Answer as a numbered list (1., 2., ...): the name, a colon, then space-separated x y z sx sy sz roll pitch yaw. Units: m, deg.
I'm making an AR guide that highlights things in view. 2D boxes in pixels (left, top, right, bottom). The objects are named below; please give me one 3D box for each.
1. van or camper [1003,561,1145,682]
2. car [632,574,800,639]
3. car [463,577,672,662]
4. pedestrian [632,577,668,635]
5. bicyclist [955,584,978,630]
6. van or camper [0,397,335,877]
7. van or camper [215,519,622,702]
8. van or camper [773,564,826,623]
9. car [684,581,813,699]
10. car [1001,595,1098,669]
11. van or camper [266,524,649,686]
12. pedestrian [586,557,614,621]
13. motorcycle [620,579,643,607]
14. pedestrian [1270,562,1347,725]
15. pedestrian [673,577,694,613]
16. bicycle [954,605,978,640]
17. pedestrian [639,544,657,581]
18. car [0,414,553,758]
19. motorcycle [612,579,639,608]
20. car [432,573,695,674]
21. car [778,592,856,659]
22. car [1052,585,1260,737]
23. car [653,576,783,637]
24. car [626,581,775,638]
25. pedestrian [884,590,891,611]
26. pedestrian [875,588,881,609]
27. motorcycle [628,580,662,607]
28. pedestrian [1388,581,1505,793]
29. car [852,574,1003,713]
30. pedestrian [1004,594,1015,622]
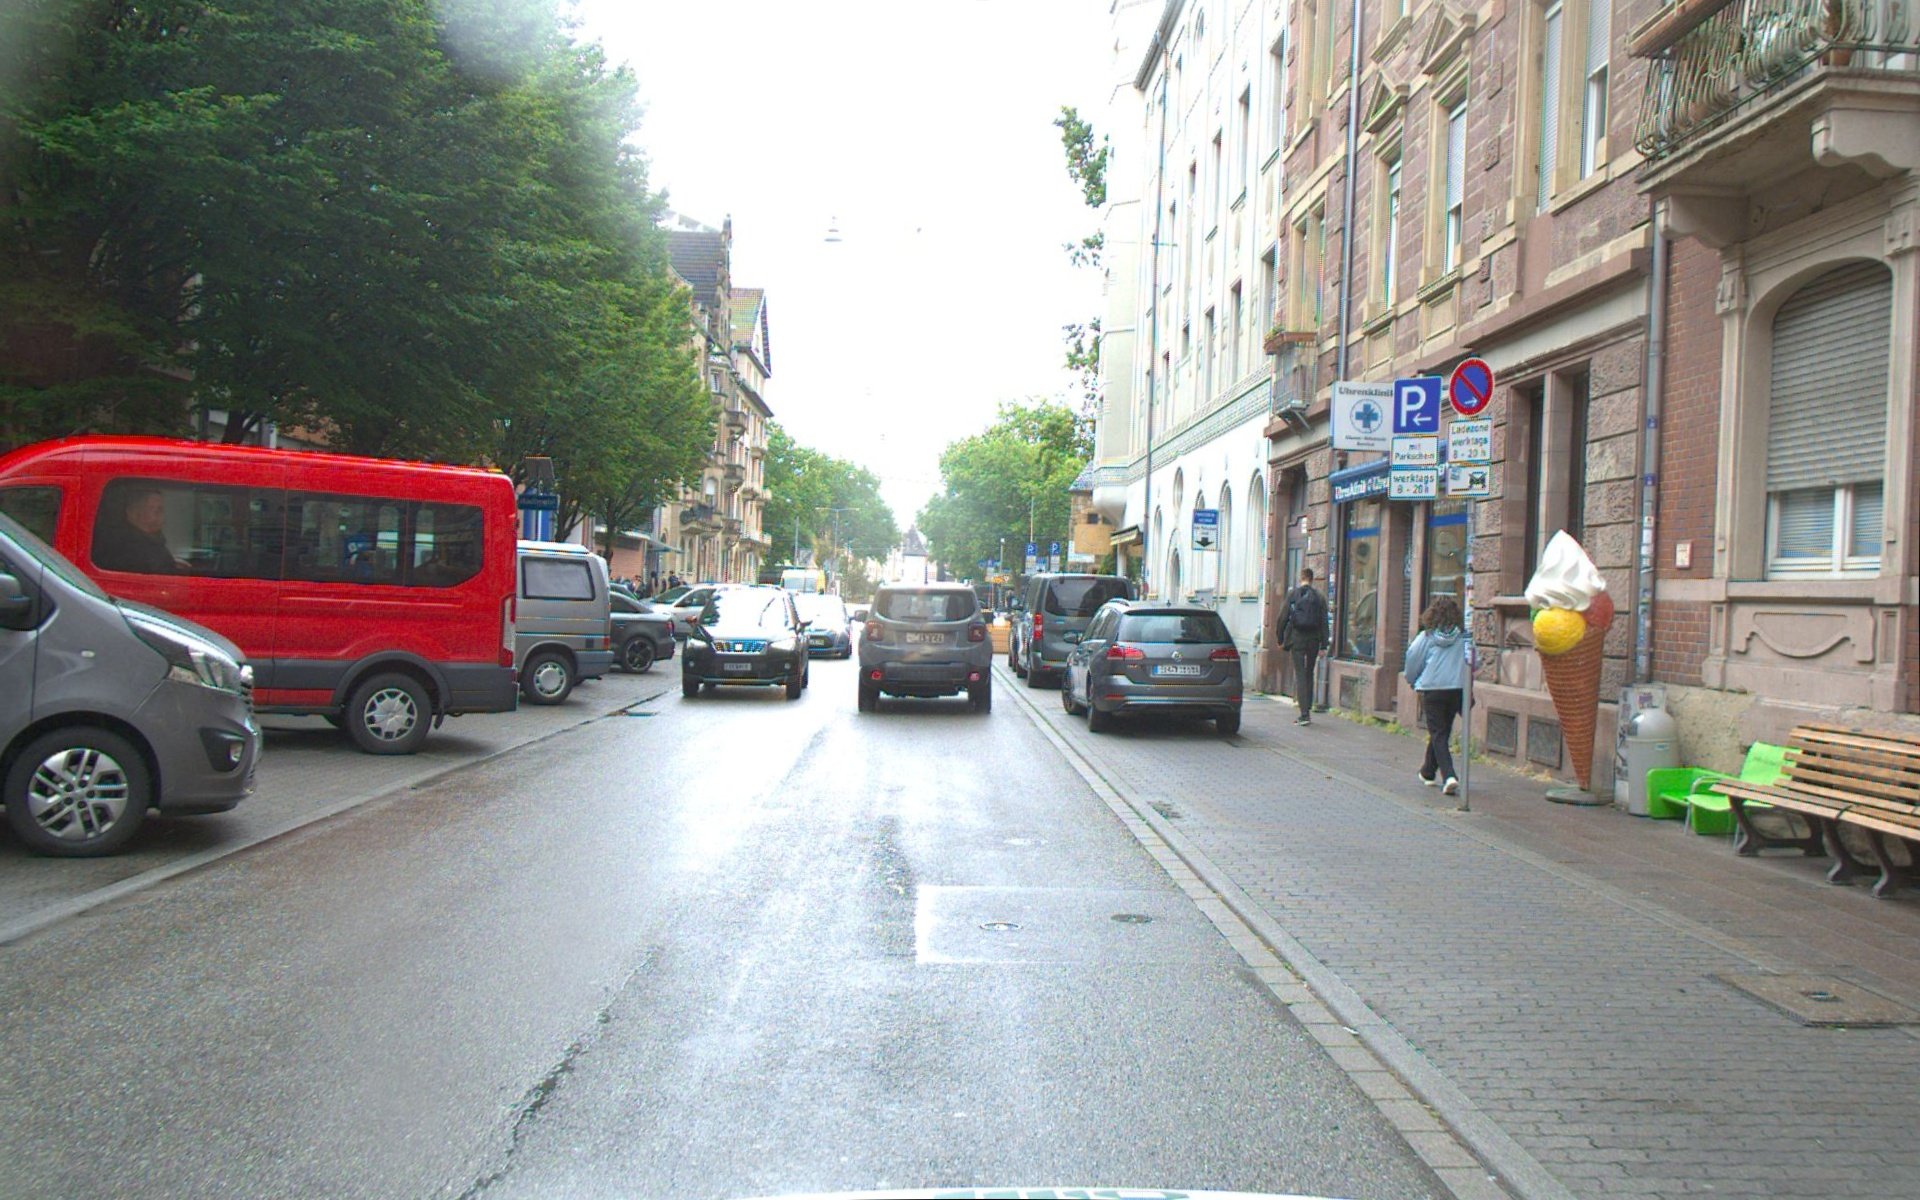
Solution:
1. van or camper: 1.901 0.334 29.066 1.981 1.924 5.053 1 0 -2
2. car: -7.444 0.207 50.637 4.472 1.566 2.310 6 -3 -35
3. car: -7.253 0.352 30.725 3.454 1.460 1.625 1 0 -44
4. pedestrian: -9.799 0.183 52.312 0.808 1.782 0.757 4 0 5
5. bicyclist: 0.200 0.214 53.003 0.690 1.428 1.171 1 0 -1
6. van or camper: -6.143 0.117 8.834 4.951 2.390 2.324 2 0 -28
7. van or camper: -6.592 0.166 20.348 4.396 2.009 1.760 3 0 -35
8. van or camper: -7.848 -0.262 81.493 2.078 2.575 6.871 -2 -2 -2
9. car: -3.111 0.547 24.999 1.637 1.586 4.000 2 0 -4
10. car: 1.812 0.633 34.402 1.675 1.425 3.703 1 0 -2
11. van or camper: -7.132 0.106 23.761 4.660 1.986 2.301 4 1 -43
12. pedestrian: -9.969 -0.312 45.815 0.599 1.737 0.433 2 -2 -1
13. motorcycle: -14.907 -0.332 75.084 0.739 1.194 2.113 4 0 -5
14. pedestrian: 4.326 0.525 20.531 0.667 1.968 0.807 1 -1 33
15. pedestrian: -12.459 -0.232 74.598 0.694 1.578 0.608 4 0 5
16. bicycle: 0.188 0.704 53.003 0.690 1.072 1.812 1 0 -1
17. pedestrian: -15.249 -1.822 80.915 0.652 1.788 0.790 1 0 -25
18. car: -6.524 -0.083 14.101 5.494 2.585 2.208 2 0 -29
19. motorcycle: -14.739 -0.294 72.937 0.738 1.194 2.115 4 0 -1
20. car: -6.675 0.422 28.050 3.944 1.472 1.741 4 0 -42
21. car: -3.373 0.579 39.560 1.636 1.491 4.001 1 0 -3
22. car: 2.205 0.648 19.634 1.804 1.572 4.001 1 0 -3
23. car: -6.978 0.196 47.708 3.346 1.683 1.614 1 0 -35
24. car: -7.019 0.259 44.845 3.674 1.477 1.663 1 0 -37
25. pedestrian: -5.684 0.012 129.645 0.458 1.613 0.752 2 0 -2
26. pedestrian: -6.351 -0.148 128.283 0.458 1.613 0.752 2 0 -2
27. motorcycle: -14.691 -0.288 77.214 0.737 1.194 2.117 4 0 10
28. pedestrian: 3.908 0.679 13.332 0.665 1.642 0.810 1 0 -1
29. car: -0.507 0.543 23.052 1.861 1.700 4.503 1 0 -3
30. pedestrian: 3.176 0.523 106.502 0.677 1.741 0.684 1 0 -1
